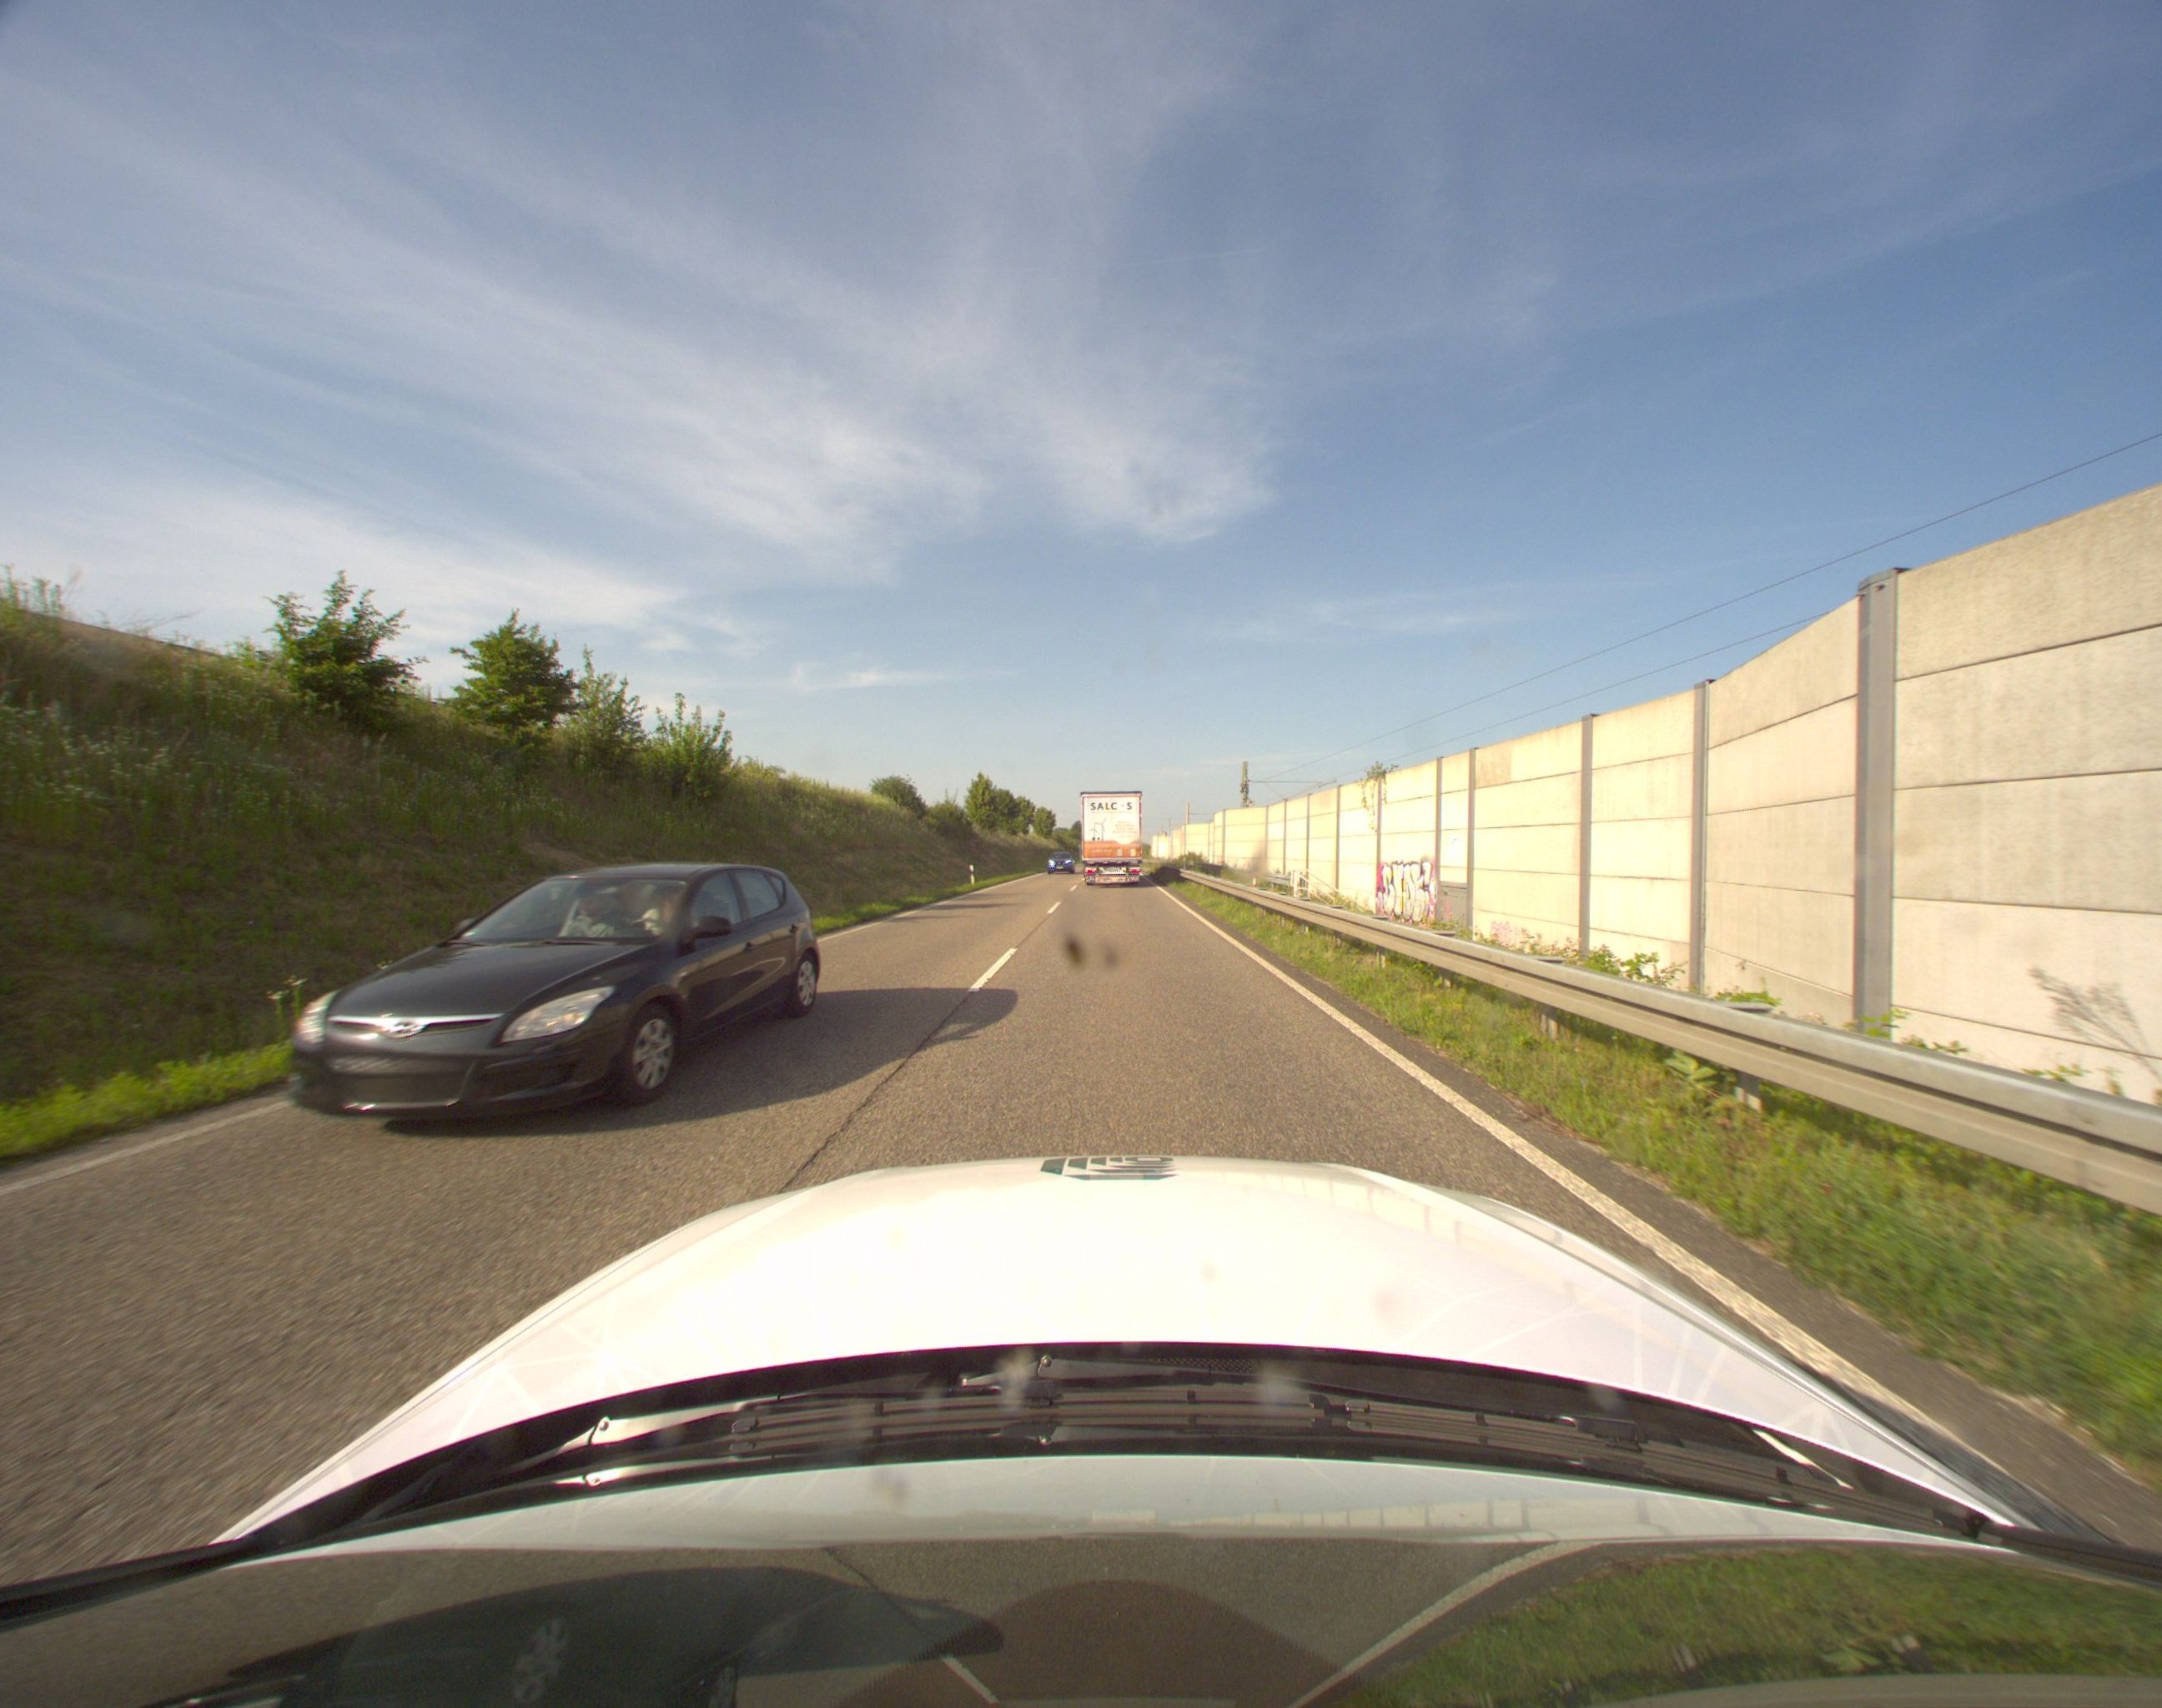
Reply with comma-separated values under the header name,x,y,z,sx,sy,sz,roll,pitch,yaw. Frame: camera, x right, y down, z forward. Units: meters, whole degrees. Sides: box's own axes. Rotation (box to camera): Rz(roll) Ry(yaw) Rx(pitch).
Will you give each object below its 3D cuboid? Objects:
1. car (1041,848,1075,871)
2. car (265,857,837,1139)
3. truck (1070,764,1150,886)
name,x,y,z,sx,sy,sz,roll,pitch,yaw
car,-1.619,0.341,59.428,2.132,1.573,5.343,-1,0,2
car,-3.414,0.773,6.327,1.710,1.453,4.020,-1,0,2
truck,1.448,-1.233,40.185,3.278,5.090,12.044,-1,0,2
